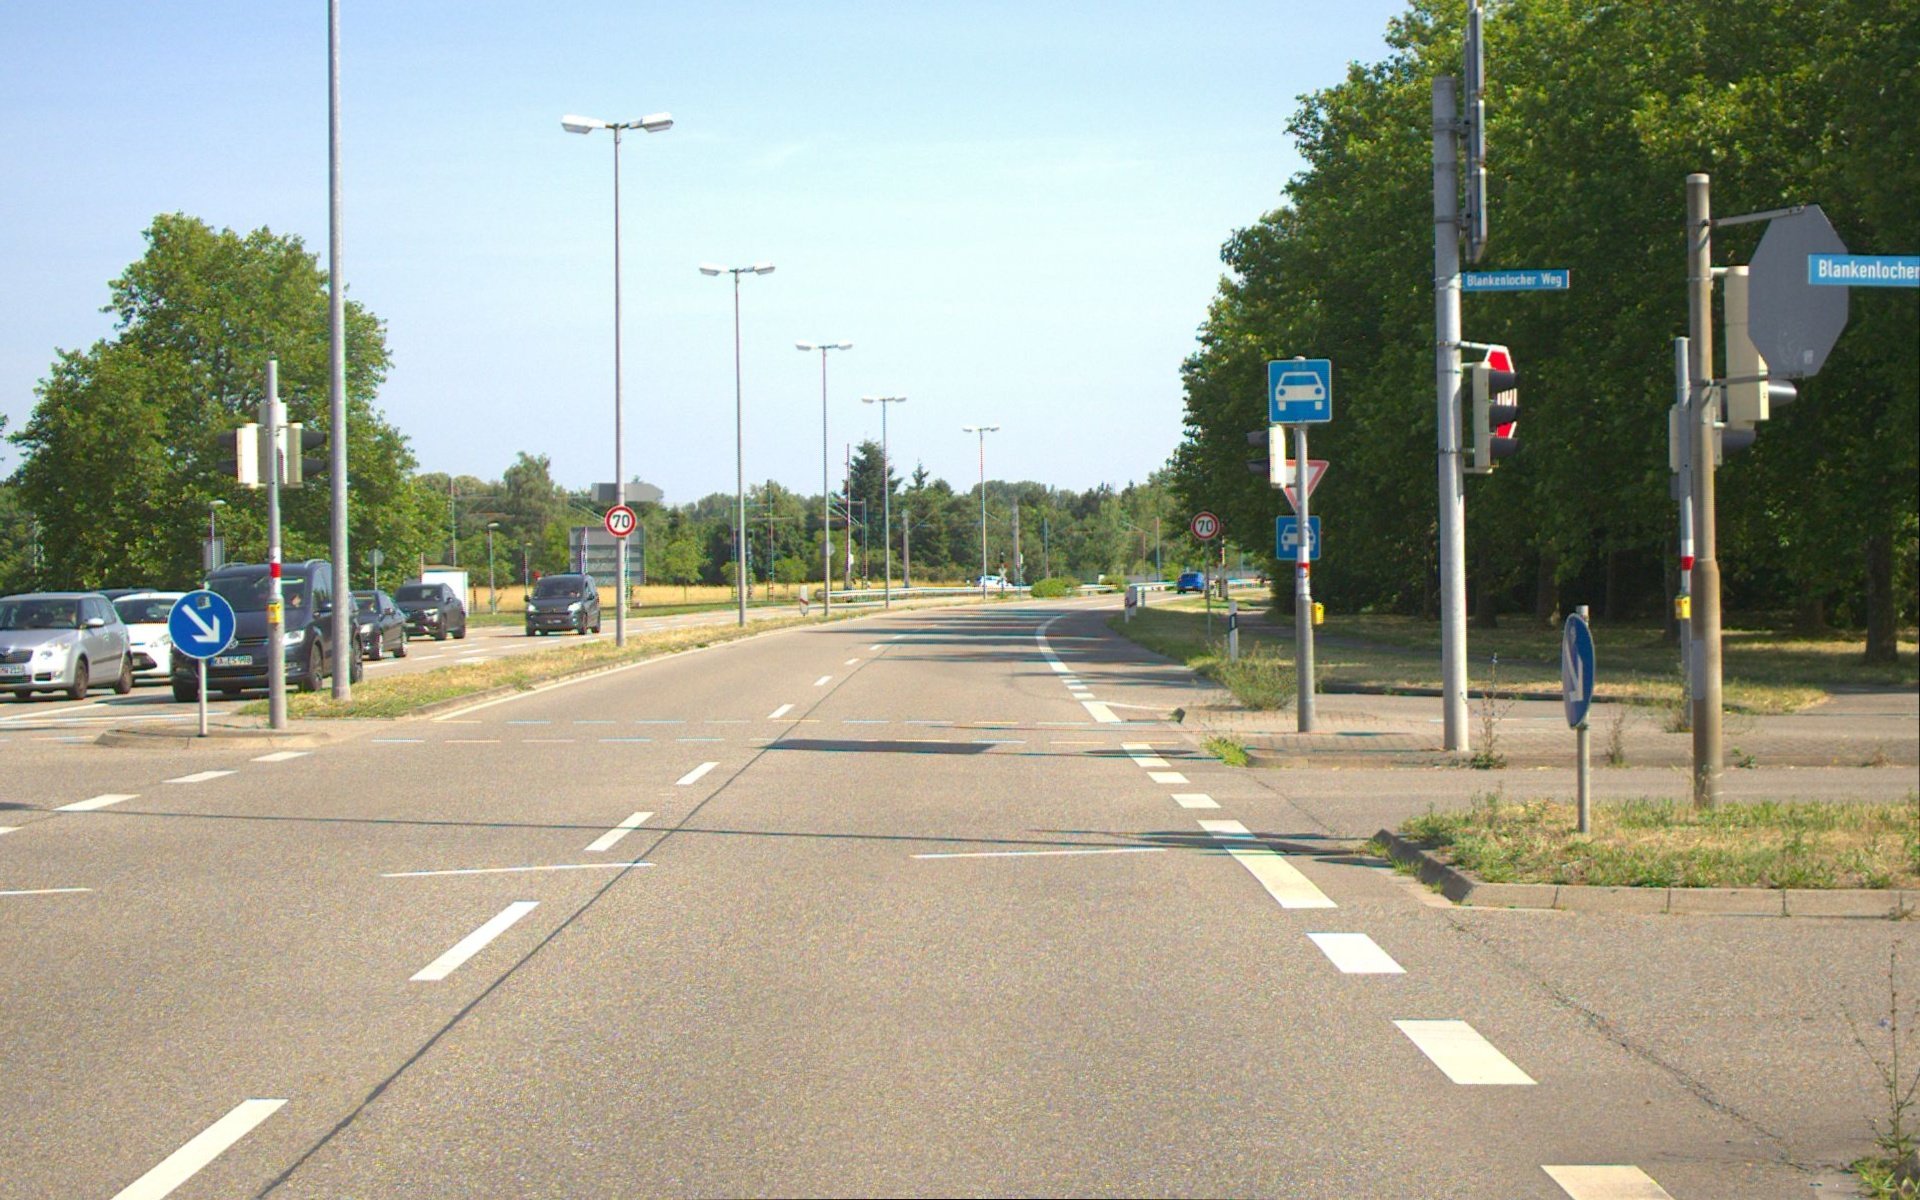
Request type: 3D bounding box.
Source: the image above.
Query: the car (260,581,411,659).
[{"bbox_3d":[-12.366,0.371,68.324,1.981,1.452,4.450,-1,0,3],"label":"car"}]

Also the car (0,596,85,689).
[{"bbox_3d":[-16.197,0.686,56.323,1.994,1.469,5.616,-1,0,3],"label":"car"}]

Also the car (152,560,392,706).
[{"bbox_3d":[-8.777,0.387,44.257,1.981,1.744,4.507,-1,0,3],"label":"car"}]

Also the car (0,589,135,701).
[{"bbox_3d":[-12.586,0.594,47.153,1.619,1.452,3.871,-1,0,0],"label":"car"}]

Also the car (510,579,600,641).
[{"bbox_3d":[-11.914,0.278,101.318,1.981,1.773,4.489,-1,0,1],"label":"car"}]

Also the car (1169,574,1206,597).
[{"bbox_3d":[15.090,-0.984,227.896,1.982,1.452,4.116,-1,0,10],"label":"car"}]

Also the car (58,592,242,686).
[{"bbox_3d":[-12.772,0.592,54.400,1.829,1.381,3.843,-1,0,3],"label":"car"}]

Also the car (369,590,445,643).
[{"bbox_3d":[-15.828,0.451,98.525,1.981,1.452,4.230,-1,0,-7],"label":"car"}]
